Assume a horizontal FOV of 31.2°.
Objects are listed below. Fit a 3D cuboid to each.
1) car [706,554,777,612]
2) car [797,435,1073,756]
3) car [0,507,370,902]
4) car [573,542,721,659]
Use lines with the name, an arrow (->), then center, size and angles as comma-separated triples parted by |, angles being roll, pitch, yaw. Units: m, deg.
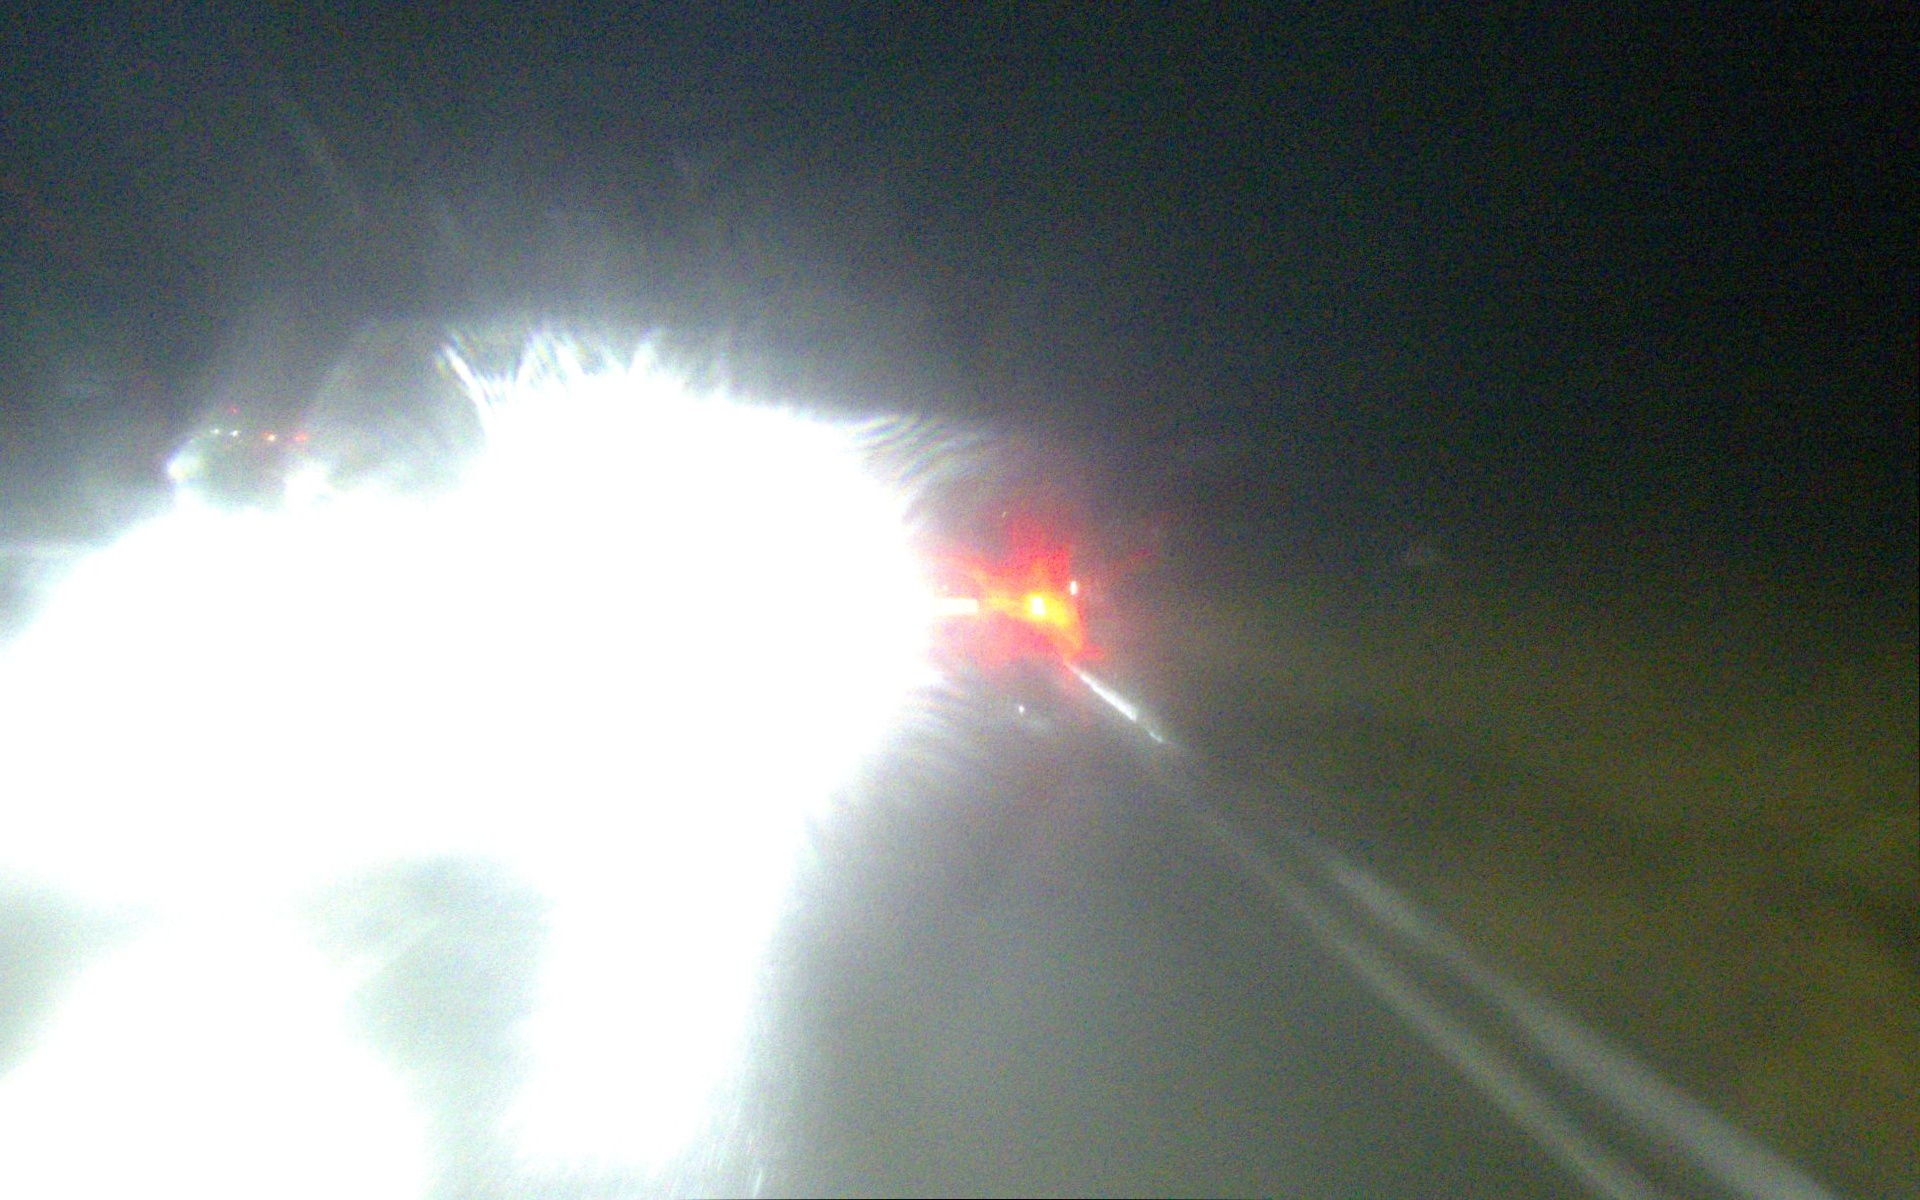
car -> -5.957, -0.492, 94.109 | 1.772, 1.505, 3.690 | 0, 1, -1
car -> -0.234, -0.140, 30.120 | 2.181, 2.548, 4.509 | 1, 3, -1
car -> -3.728, 0.360, 14.895 | 1.785, 1.505, 3.600 | 0, 1, -1
car -> -4.611, -0.026, 51.205 | 1.859, 1.632, 4.143 | -1, 1, -1
